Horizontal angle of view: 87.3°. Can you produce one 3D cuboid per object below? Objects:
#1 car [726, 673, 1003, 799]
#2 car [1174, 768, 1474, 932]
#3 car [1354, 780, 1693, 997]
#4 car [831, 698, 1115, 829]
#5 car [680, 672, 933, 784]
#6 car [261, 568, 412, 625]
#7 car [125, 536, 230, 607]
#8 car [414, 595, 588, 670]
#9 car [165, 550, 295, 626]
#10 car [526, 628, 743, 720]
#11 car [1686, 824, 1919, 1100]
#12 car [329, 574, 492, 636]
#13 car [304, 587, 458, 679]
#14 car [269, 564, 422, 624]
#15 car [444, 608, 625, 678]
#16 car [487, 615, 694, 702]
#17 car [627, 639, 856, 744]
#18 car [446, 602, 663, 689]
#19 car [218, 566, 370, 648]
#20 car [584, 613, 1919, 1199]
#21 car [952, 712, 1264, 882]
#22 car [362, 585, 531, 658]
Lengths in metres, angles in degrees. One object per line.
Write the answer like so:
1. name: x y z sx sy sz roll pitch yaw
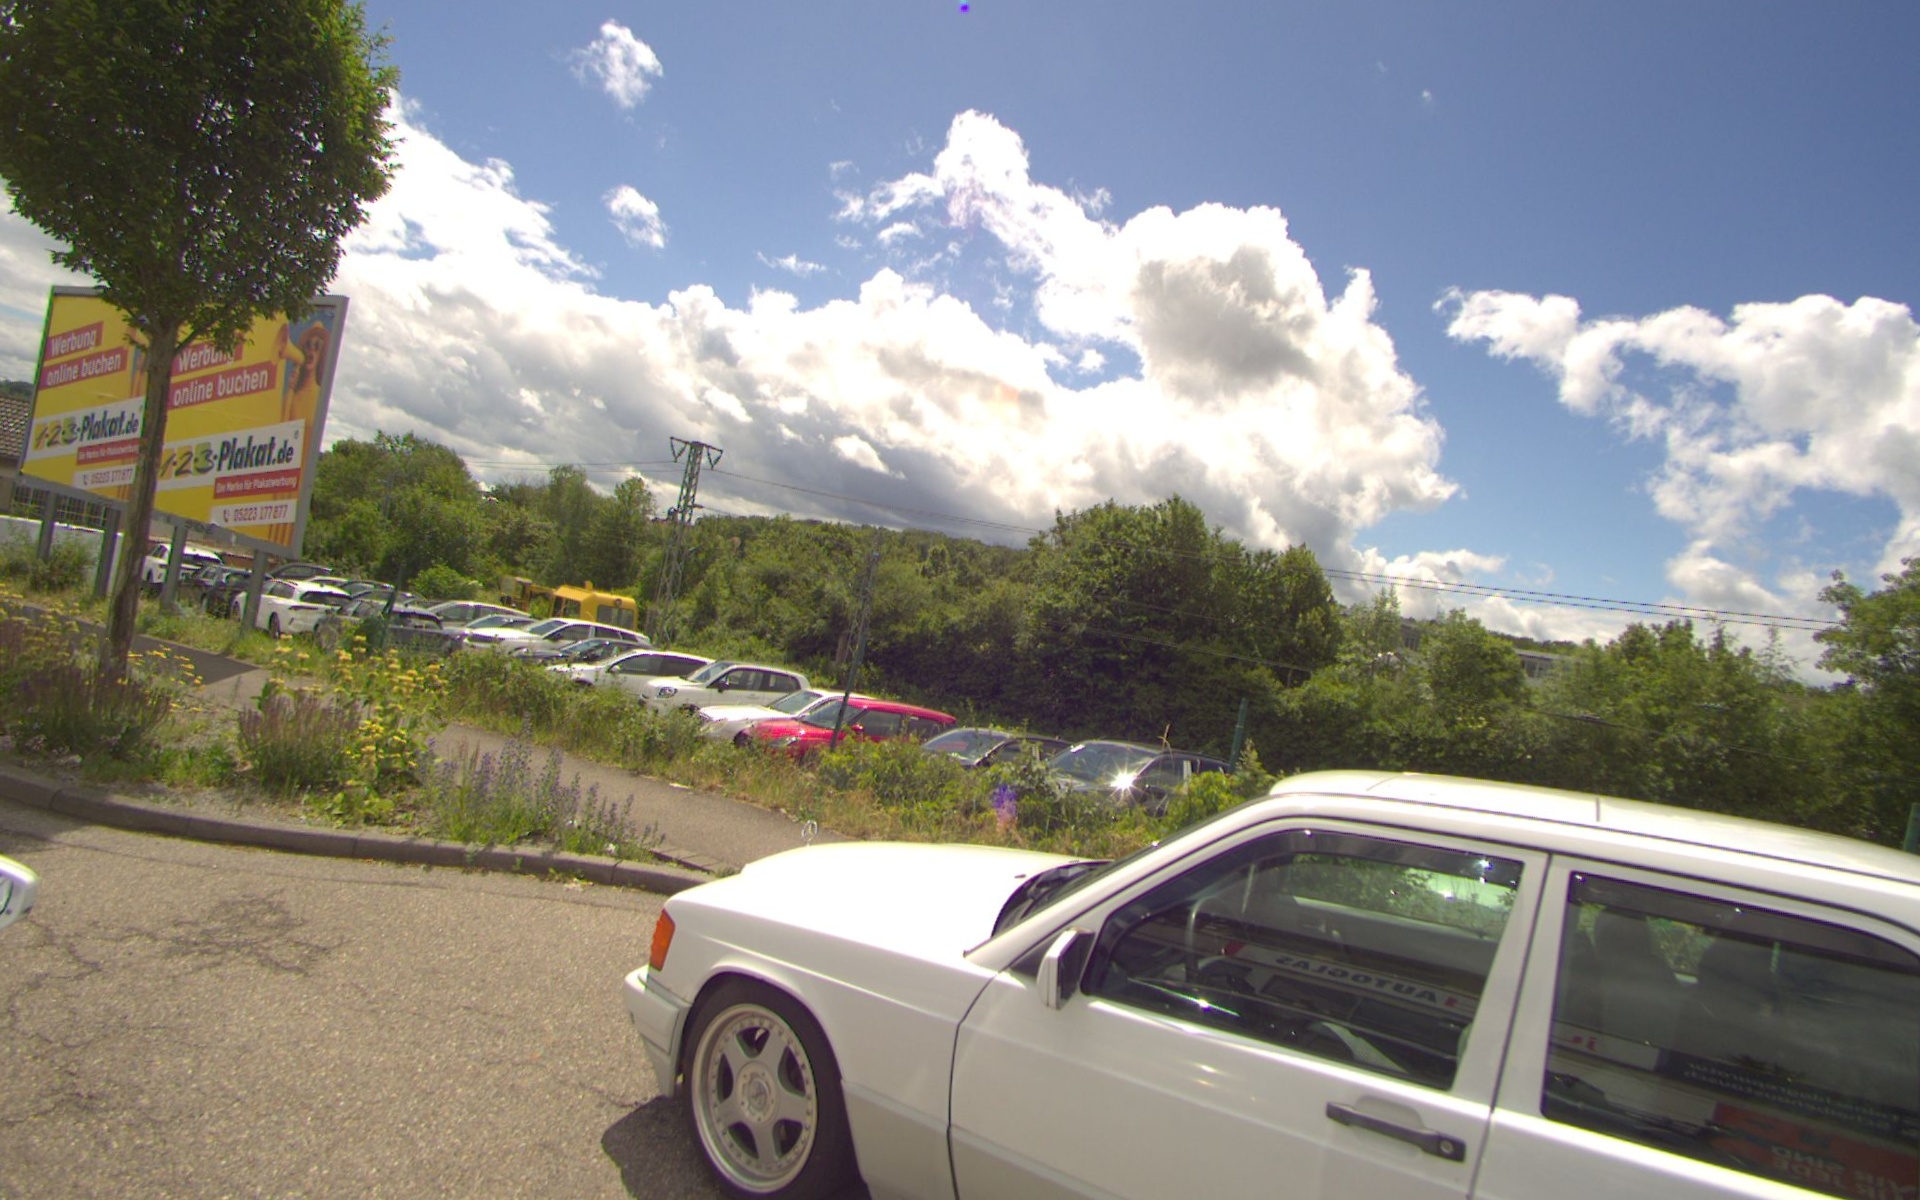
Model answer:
1. car: -1.513 2.219 16.294 3.960 1.503 1.799 9 -2 -31
2. car: 4.568 2.945 12.342 3.974 1.397 1.646 10 -2 -41
3. car: 6.226 2.993 10.957 3.968 1.658 1.624 9 -2 -37
4. car: 0.285 2.413 14.837 3.974 1.462 1.658 10 -2 -41
5. car: -2.678 2.282 17.798 3.960 1.467 1.731 9 -2 -31
6. car: -21.403 -0.111 34.623 4.156 1.407 1.771 8 -1 -40
7. car: -24.602 -0.920 31.568 4.615 1.705 1.746 7 0 43
8. car: -12.897 0.945 28.418 1.799 1.576 3.981 6 -3 44
9. car: -20.542 -0.359 28.243 4.398 1.641 1.811 6 -1 39
10. car: -6.803 1.564 21.107 3.993 1.369 1.726 9 -2 -28
11. car: 8.391 3.249 9.662 1.769 1.616 3.983 6 -2 42
12. car: -16.988 0.187 31.229 1.721 1.407 4.021 6 -1 44
13. car: -13.017 0.707 22.506 4.097 1.462 1.693 6 -3 43
14. car: -19.890 -0.169 32.636 3.971 1.407 1.580 8 -1 -39
15. car: -11.214 1.170 26.674 1.733 1.345 3.981 6 -3 44
16. car: -8.345 1.361 22.930 3.975 1.458 1.717 10 -2 -42
17. car: -4.325 1.836 20.059 3.960 1.558 1.774 9 -2 -31
18. car: -9.933 1.173 24.911 1.973 1.572 4.443 6 -3 42
19. car: -16.883 0.151 25.434 4.513 1.536 1.751 6 -1 38
20. car: 1.177 1.024 2.390 4.137 1.403 1.640 7 -2 34
21. car: 2.035 2.511 13.128 3.973 1.654 1.698 9 -2 -40
22. car: -15.158 0.667 29.849 1.773 1.630 3.981 6 -3 44
